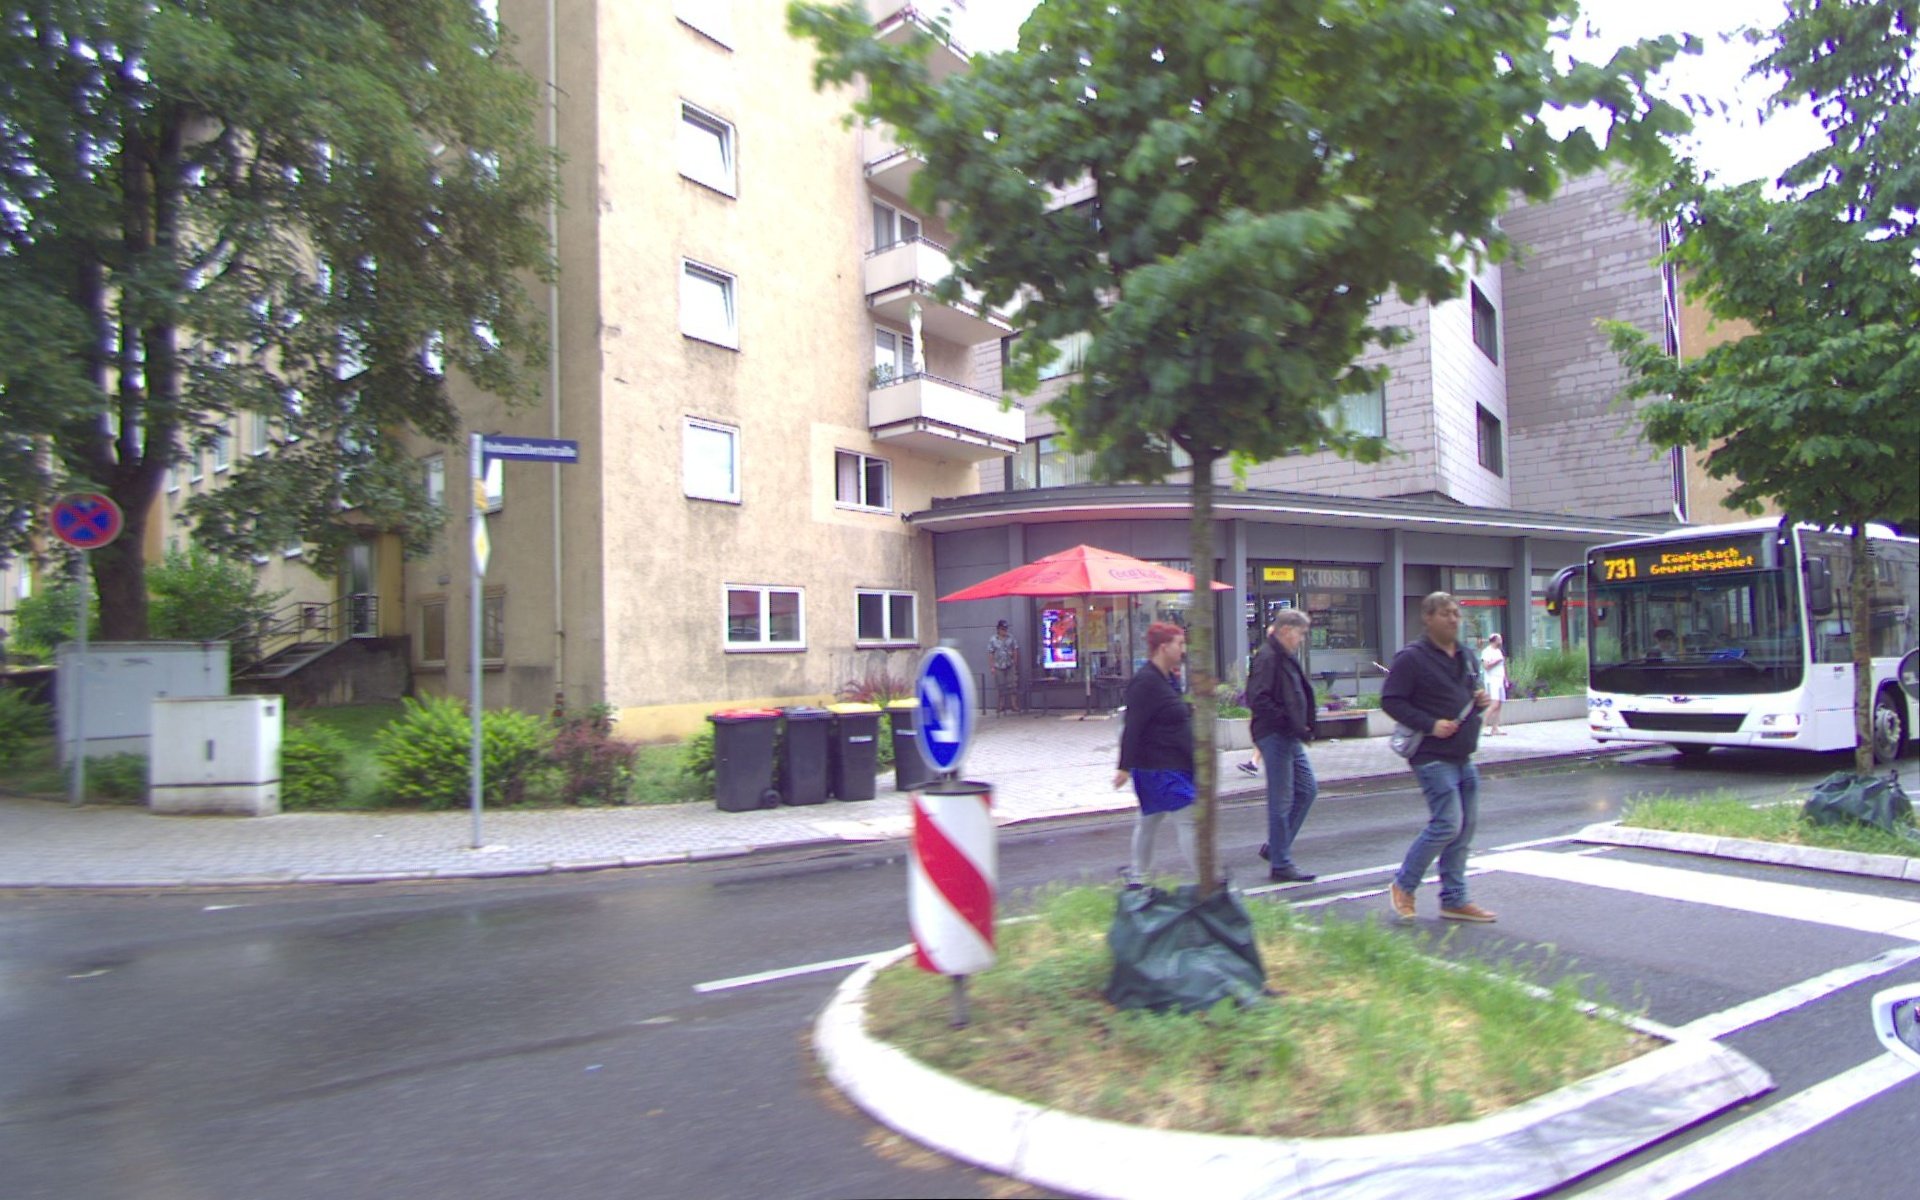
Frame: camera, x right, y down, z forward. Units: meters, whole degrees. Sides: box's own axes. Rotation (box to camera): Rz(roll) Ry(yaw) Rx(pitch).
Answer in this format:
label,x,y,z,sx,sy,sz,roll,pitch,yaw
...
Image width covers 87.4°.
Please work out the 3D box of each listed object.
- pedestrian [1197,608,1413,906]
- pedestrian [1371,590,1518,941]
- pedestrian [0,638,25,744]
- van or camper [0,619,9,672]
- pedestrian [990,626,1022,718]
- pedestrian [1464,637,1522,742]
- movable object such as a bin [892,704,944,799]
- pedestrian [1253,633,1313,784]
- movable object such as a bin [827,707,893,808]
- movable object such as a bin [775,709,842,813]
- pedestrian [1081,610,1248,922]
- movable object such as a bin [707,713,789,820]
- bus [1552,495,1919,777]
label,x,y,z,sx,sy,sz,roll,pitch,yaw
pedestrian,2.236,0.974,6.587,0.708,1.753,1.054,1,-5,-38
pedestrian,2.587,0.847,5.367,0.459,1.730,0.542,-7,-7,41
pedestrian,-16.019,1.504,16.568,0.618,1.705,0.814,1,1,42
van or camper,-51.561,2.180,49.538,2.250,2.667,6.347,1,-2,31
pedestrian,0.936,1.475,20.622,0.623,1.839,0.638,-1,-3,2
pedestrian,9.163,1.524,17.269,0.656,1.728,0.652,3,-2,-39
movable object such as a bin,-0.495,1.802,12.037,0.530,1.084,0.472,0,-4,8
pedestrian,4.058,1.335,12.621,0.462,1.814,0.539,-2,2,-37
movable object such as a bin,-1.146,1.784,11.484,0.599,1.095,0.488,3,-5,-28
movable object such as a bin,-1.691,1.772,11.195,0.599,1.095,0.488,3,-5,-28
pedestrian,1.203,0.959,6.061,0.728,1.731,0.679,-1,-5,-10
movable object such as a bin,-2.307,1.787,10.919,0.722,1.095,0.552,3,-5,-28
bus,13.982,0.679,15.673,11.815,3.241,2.669,2,-5,-30
